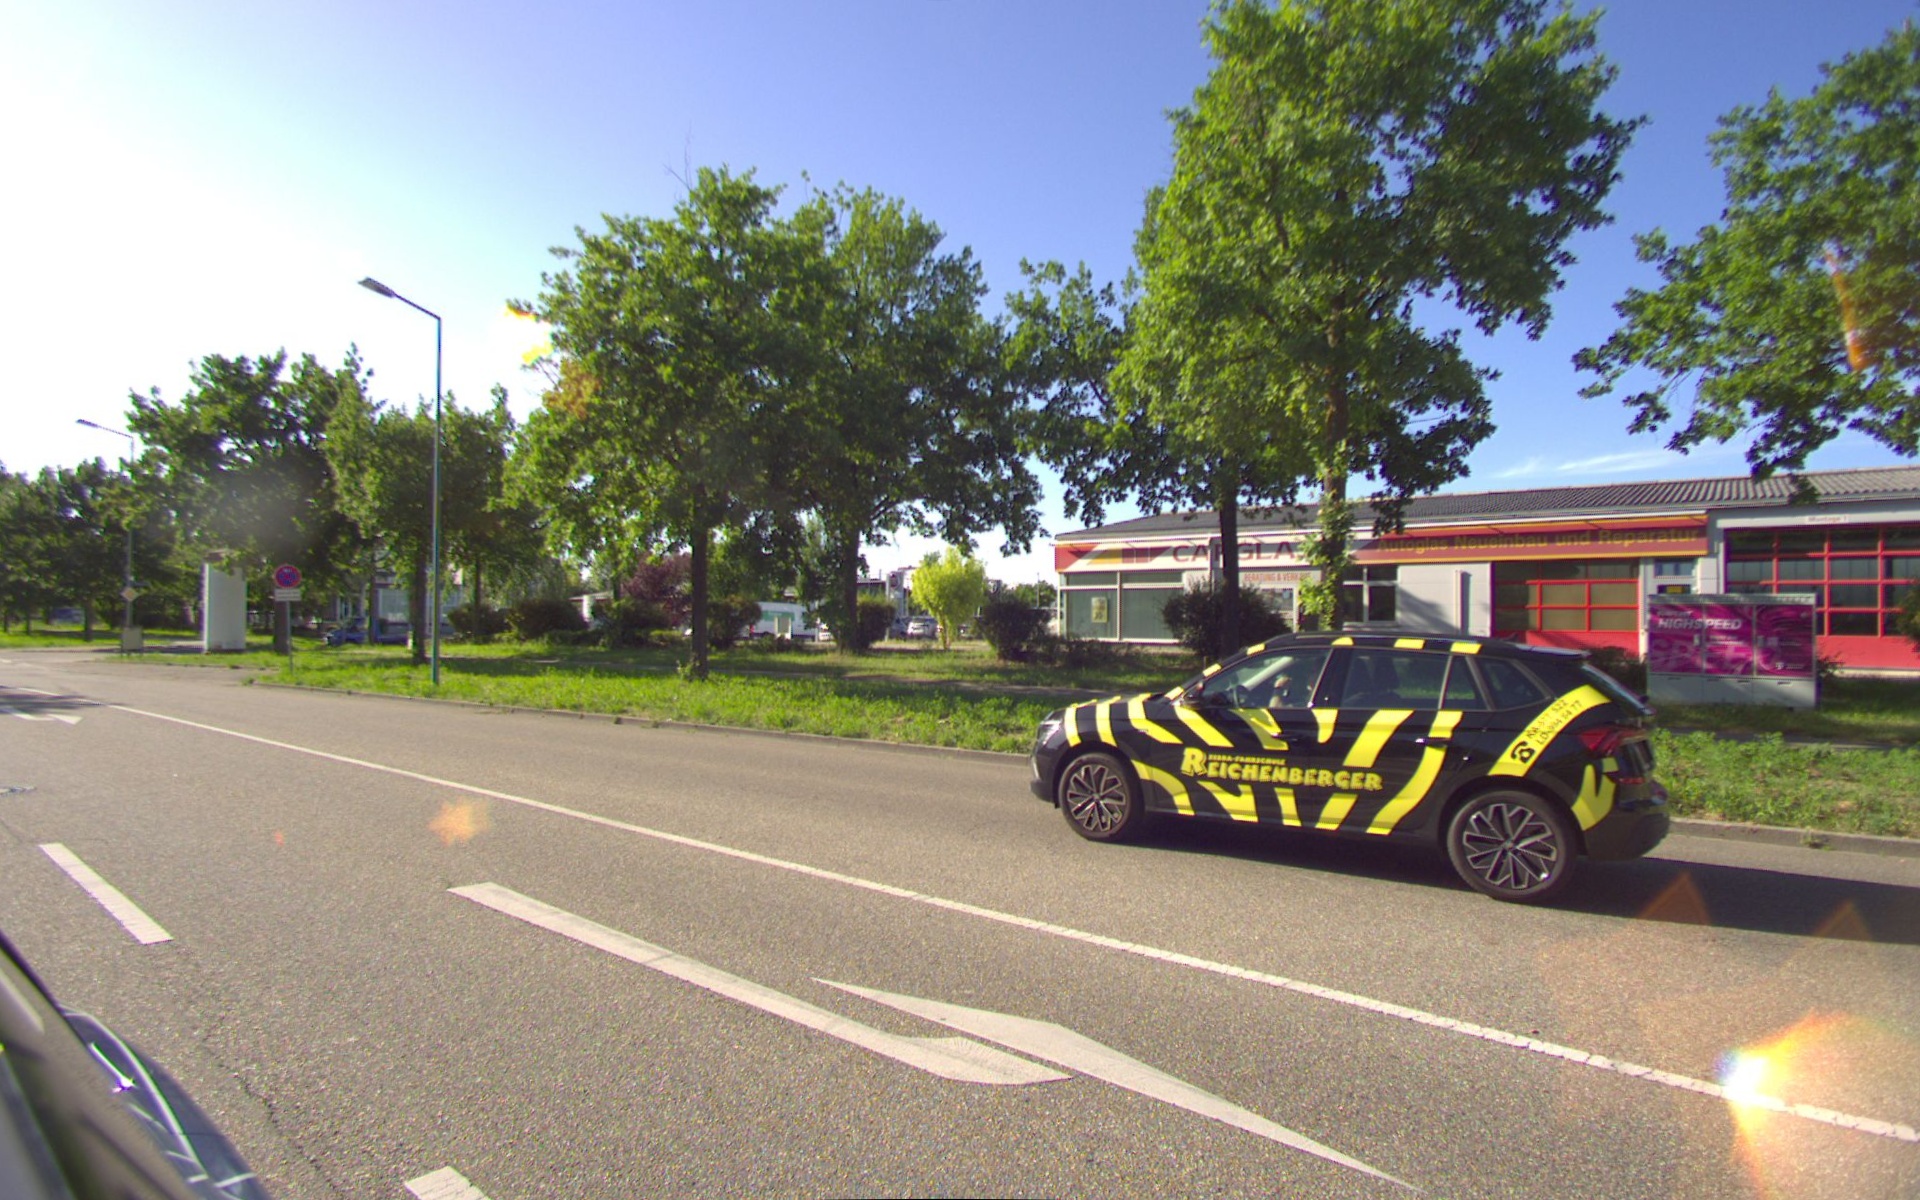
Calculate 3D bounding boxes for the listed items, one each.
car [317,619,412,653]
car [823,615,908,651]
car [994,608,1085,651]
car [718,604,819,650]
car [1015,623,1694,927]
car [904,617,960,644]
[{"bbox_3d":[-35.972,2.146,61.235,1.999,1.847,4.578,-1,0,41],"label":"car"},{"bbox_3d":[-5.147,1.758,55.791,1.989,1.795,4.583,-1,0,40],"label":"car"},{"bbox_3d":[3.212,1.148,40.606,1.734,1.583,3.769,-3,-1,40],"label":"car"},{"bbox_3d":[-11.454,1.588,61.002,2.406,2.574,5.952,-1,0,36],"label":"car"},{"bbox_3d":[2.573,0.951,7.073,4.071,1.537,1.747,-1,-3,35],"label":"car"},{"bbox_3d":[-1.873,2.040,68.625,1.761,1.684,3.811,-1,0,40],"label":"car"}]
